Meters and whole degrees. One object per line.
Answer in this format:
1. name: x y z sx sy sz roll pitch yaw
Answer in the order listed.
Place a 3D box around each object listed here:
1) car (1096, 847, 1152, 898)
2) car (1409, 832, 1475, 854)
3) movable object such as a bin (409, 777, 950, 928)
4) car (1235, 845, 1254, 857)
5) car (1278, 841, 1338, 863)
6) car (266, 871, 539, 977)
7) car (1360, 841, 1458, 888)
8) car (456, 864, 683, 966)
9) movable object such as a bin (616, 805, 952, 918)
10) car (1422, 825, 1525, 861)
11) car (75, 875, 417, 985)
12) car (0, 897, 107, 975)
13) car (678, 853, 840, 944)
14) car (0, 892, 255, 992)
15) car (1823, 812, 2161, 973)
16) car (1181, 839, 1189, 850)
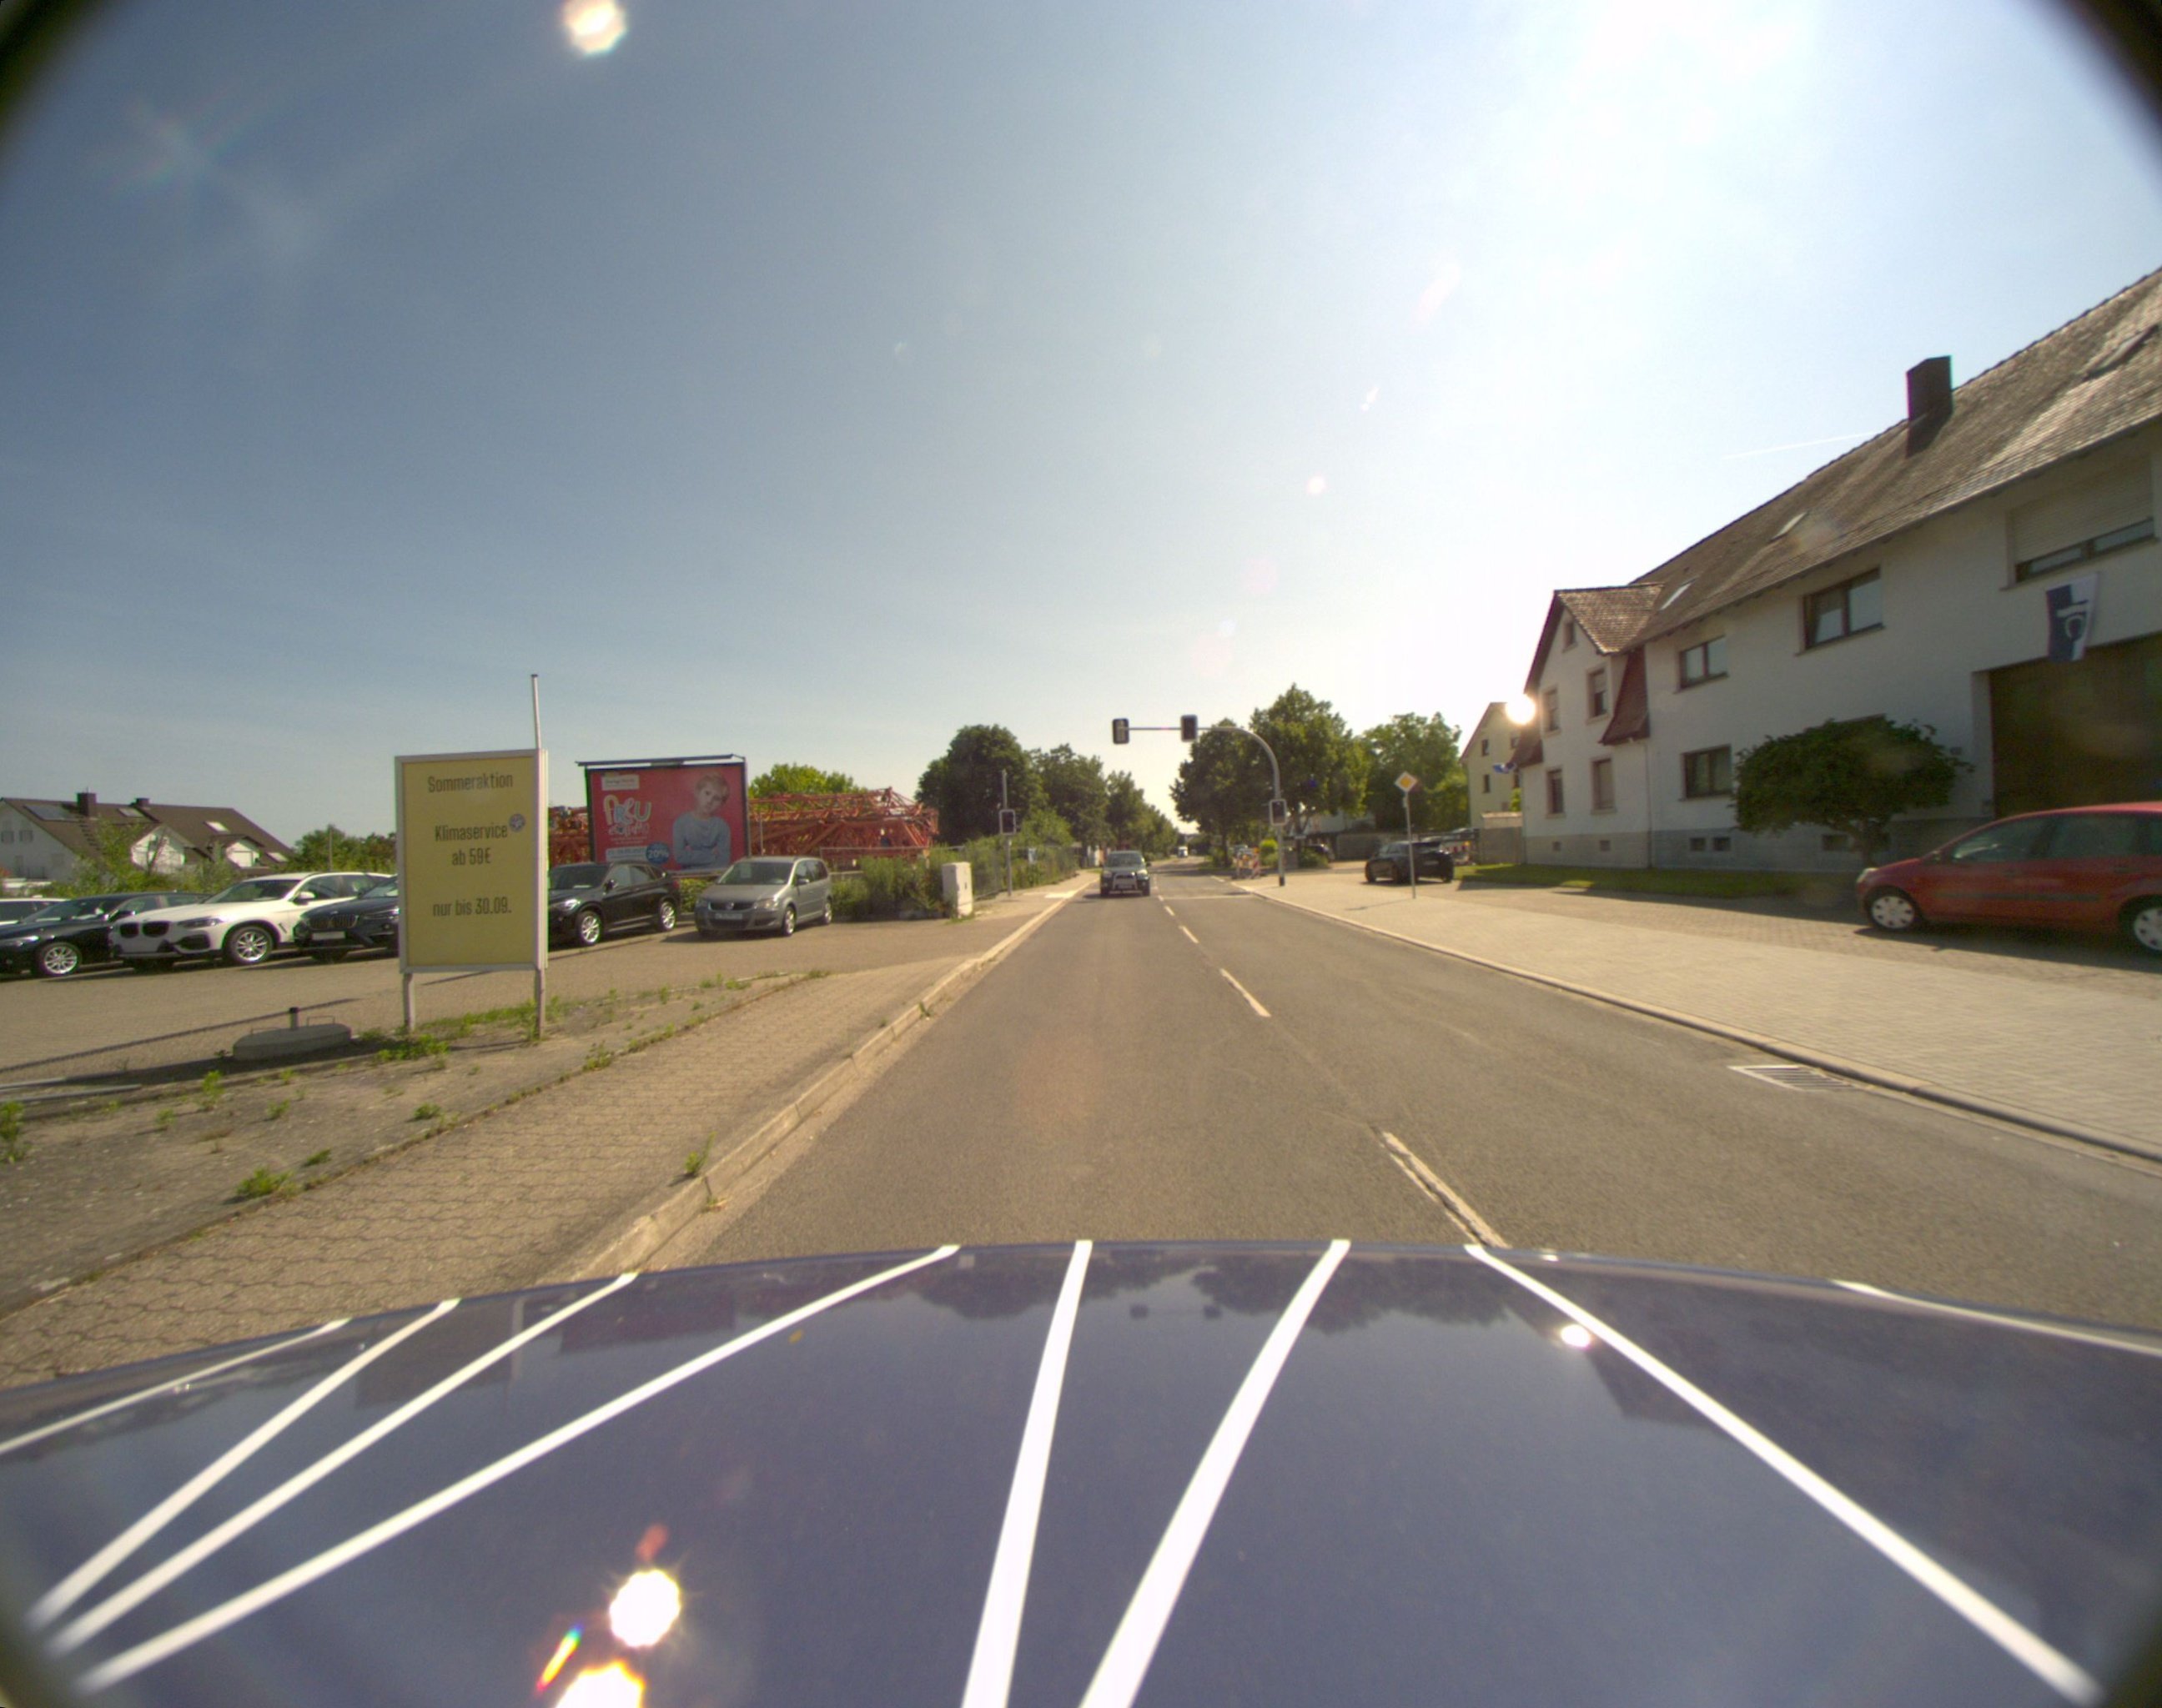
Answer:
1. car: 1.614 0.665 28.515 1.848 1.686 4.399 -3 -1 3
2. car: 27.311 -0.829 57.594 3.996 1.496 2.000 -2 0 3
3. movable object such as a bin: -12.640 -0.056 24.844 16.092 3.995 2.773 -2 1 0
4. car: 21.157 -0.373 98.620 1.997 1.496 4.002 -2 0 6
5. car: 17.506 -0.174 58.631 3.989 1.496 2.004 -2 0 36
6. car: -12.982 1.232 14.976 1.846 1.583 4.103 -2 1 -5
7. car: 11.233 0.286 26.360 1.718 1.399 4.398 -2 2 4
8. car: -9.886 1.080 15.139 1.975 1.583 3.998 -2 1 -5
9. movable object such as a bin: -12.547 0.302 32.911 13.287 4.141 2.863 -2 1 0
10. car: 25.544 -0.713 49.572 5.623 2.033 2.000 -2 1 2
11. car: -15.788 1.323 14.825 2.004 1.583 4.336 -2 1 -5
12. car: -21.445 1.648 13.859 1.846 1.379 4.373 -2 1 -5
13. car: -6.781 0.875 16.561 1.809 1.676 4.368 -1 -1 -3
14. car: -18.493 1.558 14.214 1.846 1.379 3.998 -2 1 -5
15. car: 10.769 0.326 8.206 1.718 1.444 3.916 -4 -1 3
16. car: 24.774 -2.326 181.026 1.937 2.488 5.840 -2 1 8
